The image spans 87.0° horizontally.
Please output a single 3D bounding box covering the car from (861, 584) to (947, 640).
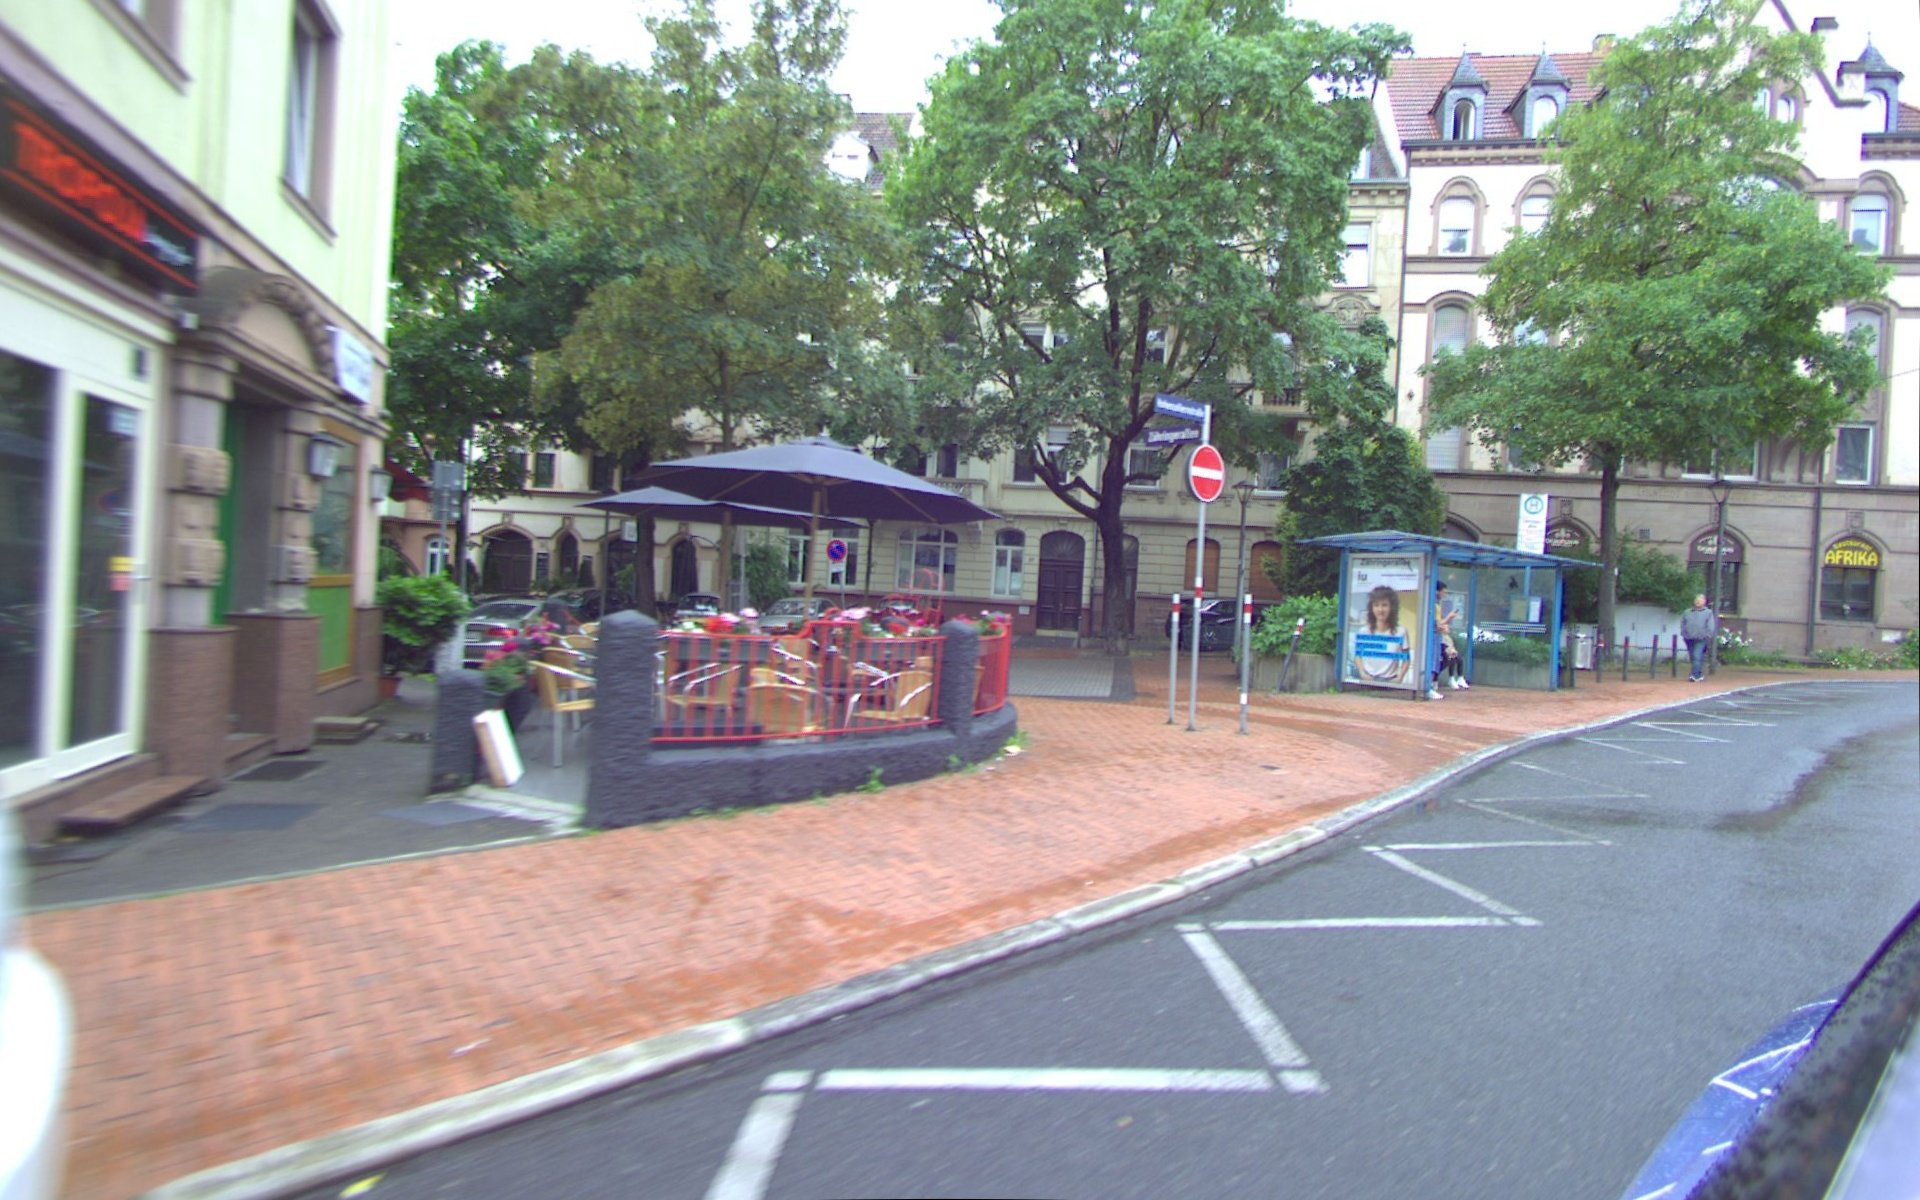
[{"bbox_3d":[-1.686,0.324,31.986,1.846,1.546,3.990,0,3,10],"label":"car"}]

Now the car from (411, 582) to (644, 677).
[{"bbox_3d":[-7.839,0.490,18.916,1.764,1.547,4.634,0,0,10],"label":"car"}]

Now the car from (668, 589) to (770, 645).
[{"bbox_3d":[-6.718,0.453,28.531,1.565,1.484,3.490,0,-1,10],"label":"car"}]

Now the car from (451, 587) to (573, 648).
[{"bbox_3d":[-13.209,0.492,30.077,1.565,1.688,3.640,0,-1,10],"label":"car"}]

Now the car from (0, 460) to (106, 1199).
[{"bbox_3d":[-3.378,0.617,0.559,4.415,1.584,1.801,0,0,-42],"label":"car"}]

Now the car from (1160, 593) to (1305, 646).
[{"bbox_3d":[8.012,0.557,29.843,3.769,1.495,1.775,0,-1,-18],"label":"car"}]

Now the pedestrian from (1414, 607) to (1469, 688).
[{"bbox_3d":[7.905,0.768,16.624,0.606,1.296,0.571,1,-1,-31],"label":"pedestrian"}]

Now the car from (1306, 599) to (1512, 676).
[{"bbox_3d":[9.427,0.798,21.526,3.614,1.522,1.766,-1,-2,10],"label":"car"}]

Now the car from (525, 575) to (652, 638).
[{"bbox_3d":[-10.625,0.196,29.233,1.654,1.688,3.769,0,-1,13],"label":"car"}]

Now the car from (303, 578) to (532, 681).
[{"bbox_3d":[-10.124,0.509,19.276,1.764,1.749,3.988,0,-1,10],"label":"car"}]

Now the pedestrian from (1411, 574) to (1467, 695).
[{"bbox_3d":[7.308,0.517,15.448,0.534,1.798,0.561,0,-1,-12],"label":"pedestrian"}]

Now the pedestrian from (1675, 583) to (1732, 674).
[{"bbox_3d":[14.682,0.558,19.997,0.716,1.756,0.574,0,-1,-13],"label":"pedestrian"}]

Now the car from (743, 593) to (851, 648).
[{"bbox_3d":[-4.454,0.538,28.293,1.680,1.414,4.321,0,0,10],"label":"car"}]

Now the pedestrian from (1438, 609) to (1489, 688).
[{"bbox_3d":[8.429,0.803,16.956,0.524,1.296,0.571,1,-1,-31],"label":"pedestrian"}]

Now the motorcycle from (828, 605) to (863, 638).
[{"bbox_3d":[-3.704,0.677,32.859,0.443,0.933,1.620,0,4,20],"label":"motorcycle"}]
